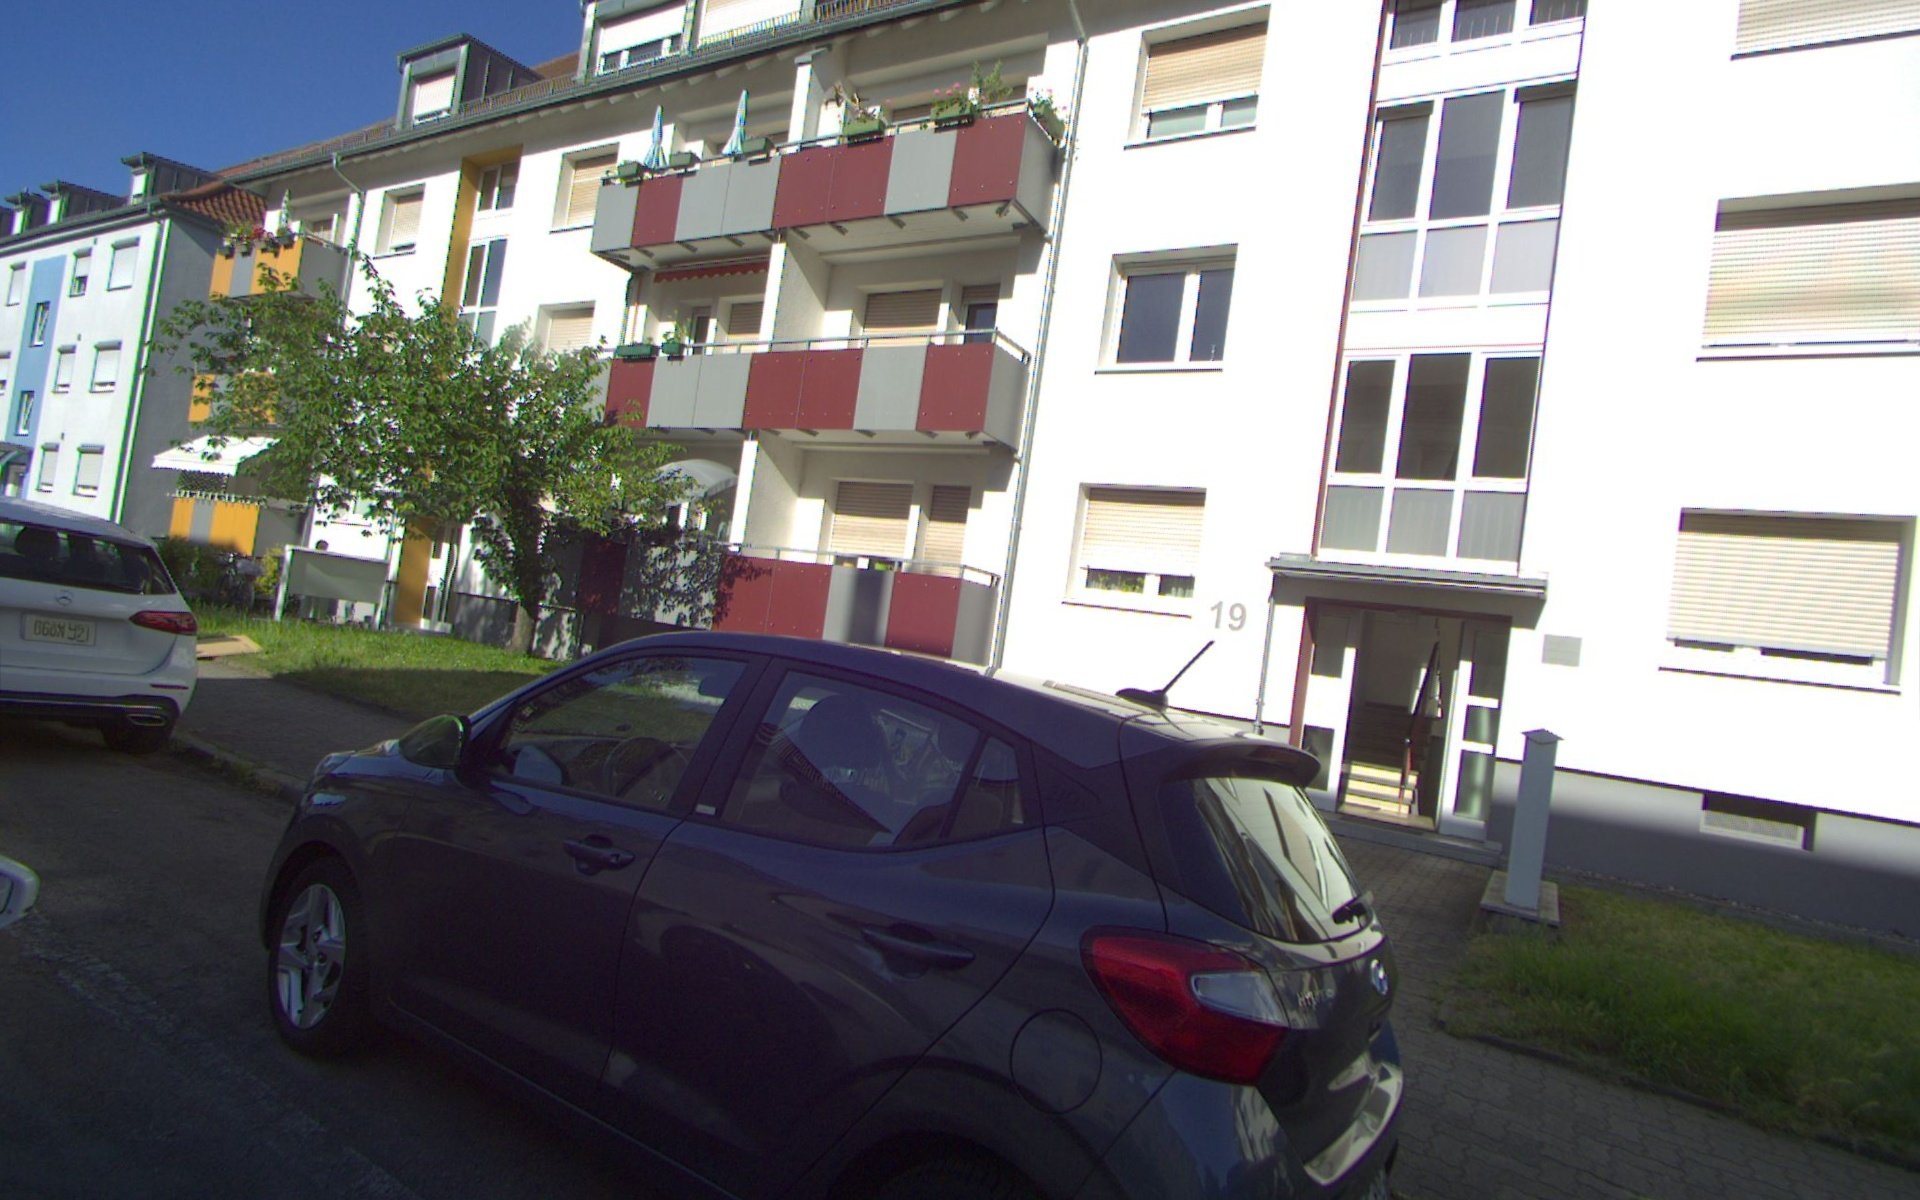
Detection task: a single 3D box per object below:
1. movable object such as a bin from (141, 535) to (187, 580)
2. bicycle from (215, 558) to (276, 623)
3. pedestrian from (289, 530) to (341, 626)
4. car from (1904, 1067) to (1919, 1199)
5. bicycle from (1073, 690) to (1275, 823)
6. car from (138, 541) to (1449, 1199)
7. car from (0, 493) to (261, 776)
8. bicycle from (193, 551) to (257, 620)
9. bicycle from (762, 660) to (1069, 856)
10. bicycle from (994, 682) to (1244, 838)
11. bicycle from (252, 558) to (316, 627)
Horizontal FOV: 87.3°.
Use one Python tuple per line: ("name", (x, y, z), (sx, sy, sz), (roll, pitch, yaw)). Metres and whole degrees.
("movable object such as a bin", (-20.533, -1.102, 25.962), (0.745, 1.047, 0.643), (5, -2, 32))
("bicycle", (-12.631, -0.168, 17.799), (0.235, 1.059, 0.741), (7, -1, 33))
("pedestrian", (-10.584, -0.359, 16.507), (0.354, 1.512, 0.451), (5, -2, 32))
("car", (3.561, 1.237, 0.428), (4.280, 1.596, 1.727), (7, -2, 31))
("bicycle", (2.259, 1.626, 10.741), (1.942, 1.049, 0.521), (7, -1, 32))
("car", (-0.801, 0.812, 3.262), (3.996, 1.464, 1.651), (6, -5, 34))
("car", (-6.948, 0.009, 6.794), (4.404, 1.521, 1.778), (7, -3, 30))
("bicycle", (-13.370, -0.274, 18.290), (1.278, 1.099, 0.403), (7, -1, 32))
("bicycle", (-0.232, 1.155, 7.625), (0.866, 1.143, 2.425), (7, -2, 37))
("bicycle", (1.482, 1.481, 9.680), (2.250, 1.062, 0.521), (7, 0, 32))
("bicycle", (-12.732, -0.154, 18.949), (1.252, 1.145, 0.404), (7, -2, 32))
